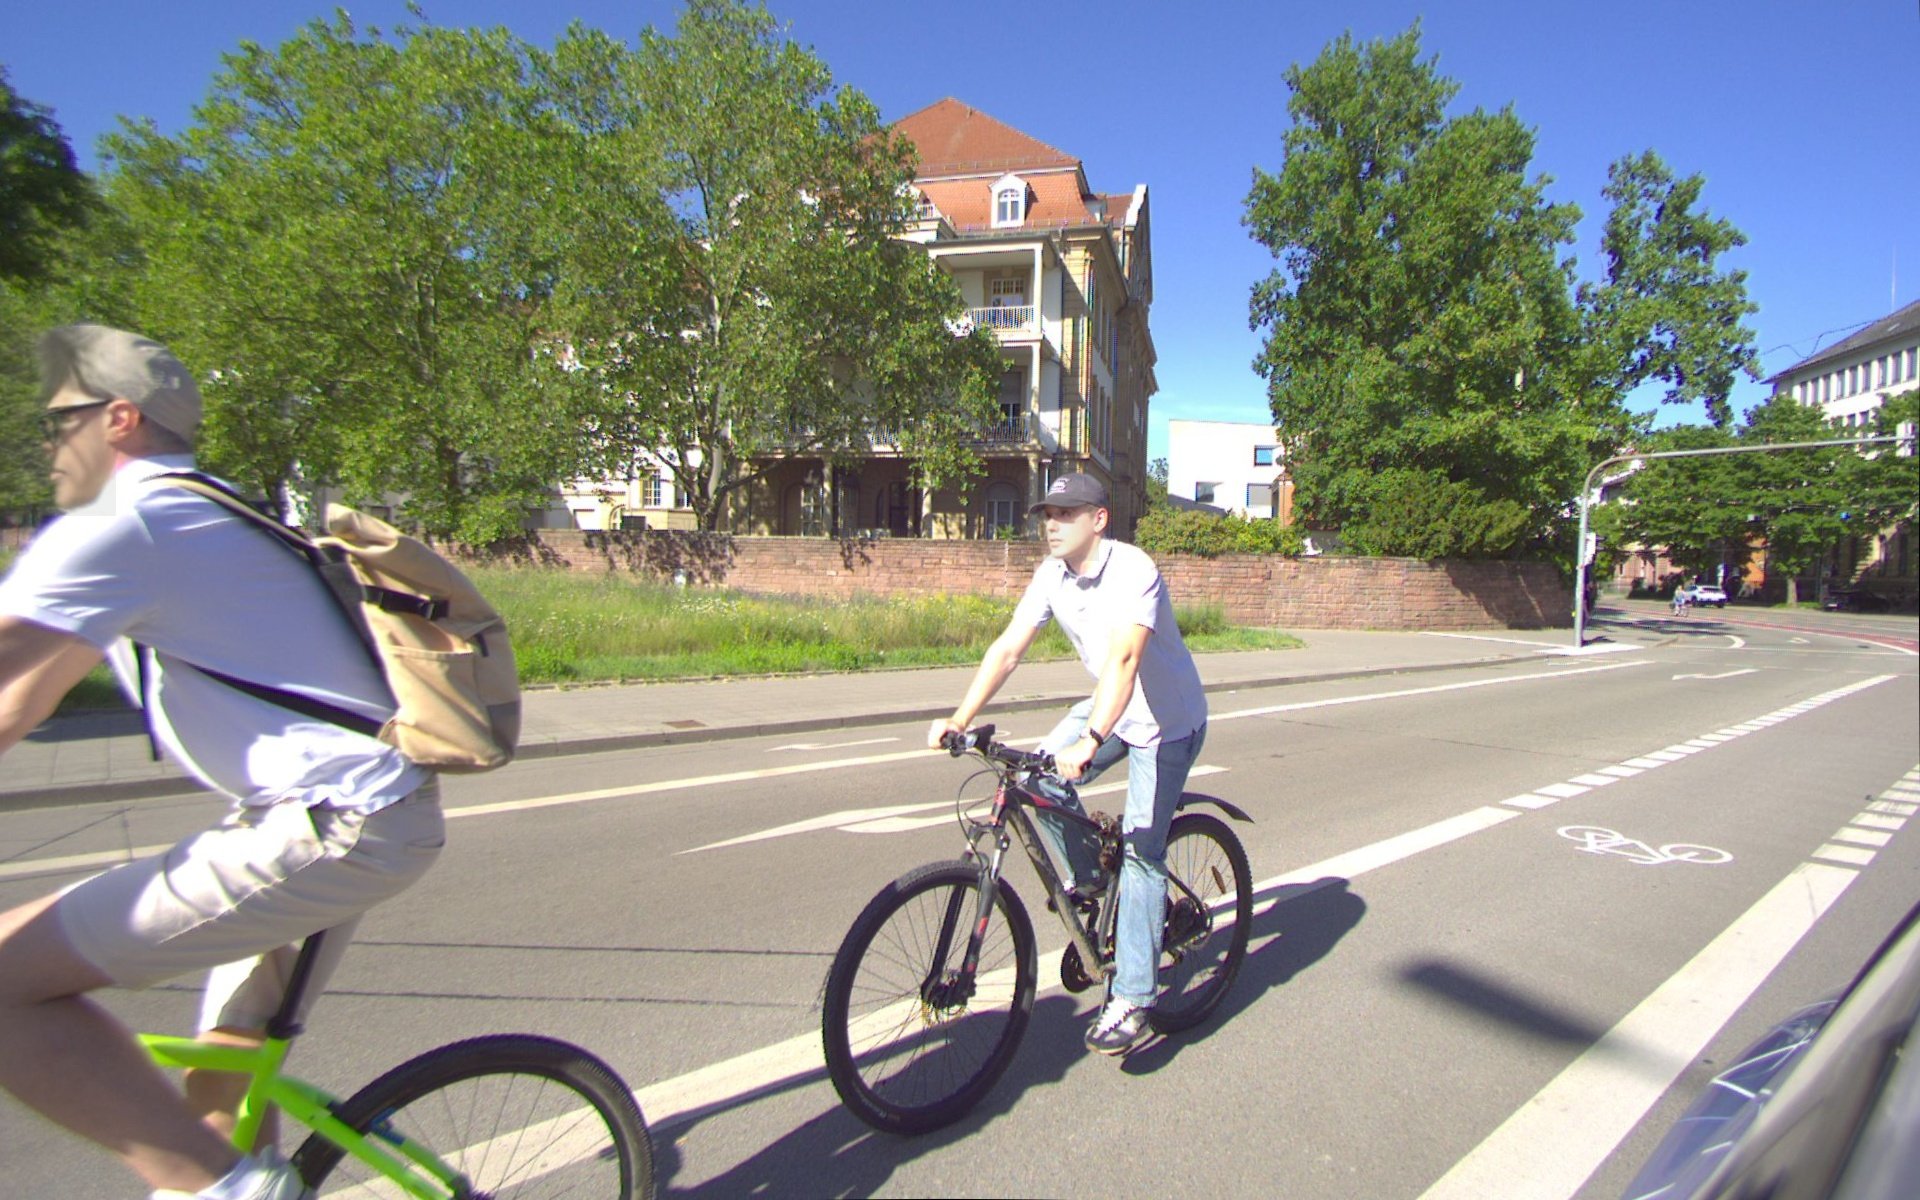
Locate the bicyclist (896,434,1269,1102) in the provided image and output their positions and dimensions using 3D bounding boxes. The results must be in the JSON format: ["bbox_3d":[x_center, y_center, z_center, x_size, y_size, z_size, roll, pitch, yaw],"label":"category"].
[{"bbox_3d":[0.376,0.413,3.122,0.851,1.695,0.741,0,2,-42],"label":"bicyclist"}]

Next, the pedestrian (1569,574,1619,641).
[{"bbox_3d":[18.488,0.198,29.508,0.718,1.872,0.961,0,3,-37],"label":"pedestrian"}]

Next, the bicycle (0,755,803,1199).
[{"bbox_3d":[-1.190,0.910,1.553,1.812,1.064,0.672,0,0,-42],"label":"bicycle"}]

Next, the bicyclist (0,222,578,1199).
[{"bbox_3d":[-1.229,0.359,1.523,1.062,1.603,0.675,0,0,-41],"label":"bicyclist"}]

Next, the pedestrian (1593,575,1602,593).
[{"bbox_3d":[67.830,-1.693,107.627,0.752,1.835,0.969,2,2,33],"label":"pedestrian"}]

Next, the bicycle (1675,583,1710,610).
[{"bbox_3d":[39.497,-0.204,54.591,0.753,1.385,2.720,2,2,20],"label":"bicycle"}]

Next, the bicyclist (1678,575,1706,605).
[{"bbox_3d":[39.506,-0.537,54.624,0.859,1.579,1.272,2,2,20],"label":"bicyclist"}]

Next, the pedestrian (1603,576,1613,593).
[{"bbox_3d":[68.842,-1.666,107.500,0.753,1.835,0.968,2,2,36],"label":"pedestrian"}]

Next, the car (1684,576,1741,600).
[{"bbox_3d":[54.276,-0.904,73.083,1.822,1.571,4.316,3,3,16],"label":"car"}]

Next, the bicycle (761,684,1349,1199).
[{"bbox_3d":[0.395,0.891,3.158,1.870,1.063,0.749,0,2,-42],"label":"bicycle"}]
